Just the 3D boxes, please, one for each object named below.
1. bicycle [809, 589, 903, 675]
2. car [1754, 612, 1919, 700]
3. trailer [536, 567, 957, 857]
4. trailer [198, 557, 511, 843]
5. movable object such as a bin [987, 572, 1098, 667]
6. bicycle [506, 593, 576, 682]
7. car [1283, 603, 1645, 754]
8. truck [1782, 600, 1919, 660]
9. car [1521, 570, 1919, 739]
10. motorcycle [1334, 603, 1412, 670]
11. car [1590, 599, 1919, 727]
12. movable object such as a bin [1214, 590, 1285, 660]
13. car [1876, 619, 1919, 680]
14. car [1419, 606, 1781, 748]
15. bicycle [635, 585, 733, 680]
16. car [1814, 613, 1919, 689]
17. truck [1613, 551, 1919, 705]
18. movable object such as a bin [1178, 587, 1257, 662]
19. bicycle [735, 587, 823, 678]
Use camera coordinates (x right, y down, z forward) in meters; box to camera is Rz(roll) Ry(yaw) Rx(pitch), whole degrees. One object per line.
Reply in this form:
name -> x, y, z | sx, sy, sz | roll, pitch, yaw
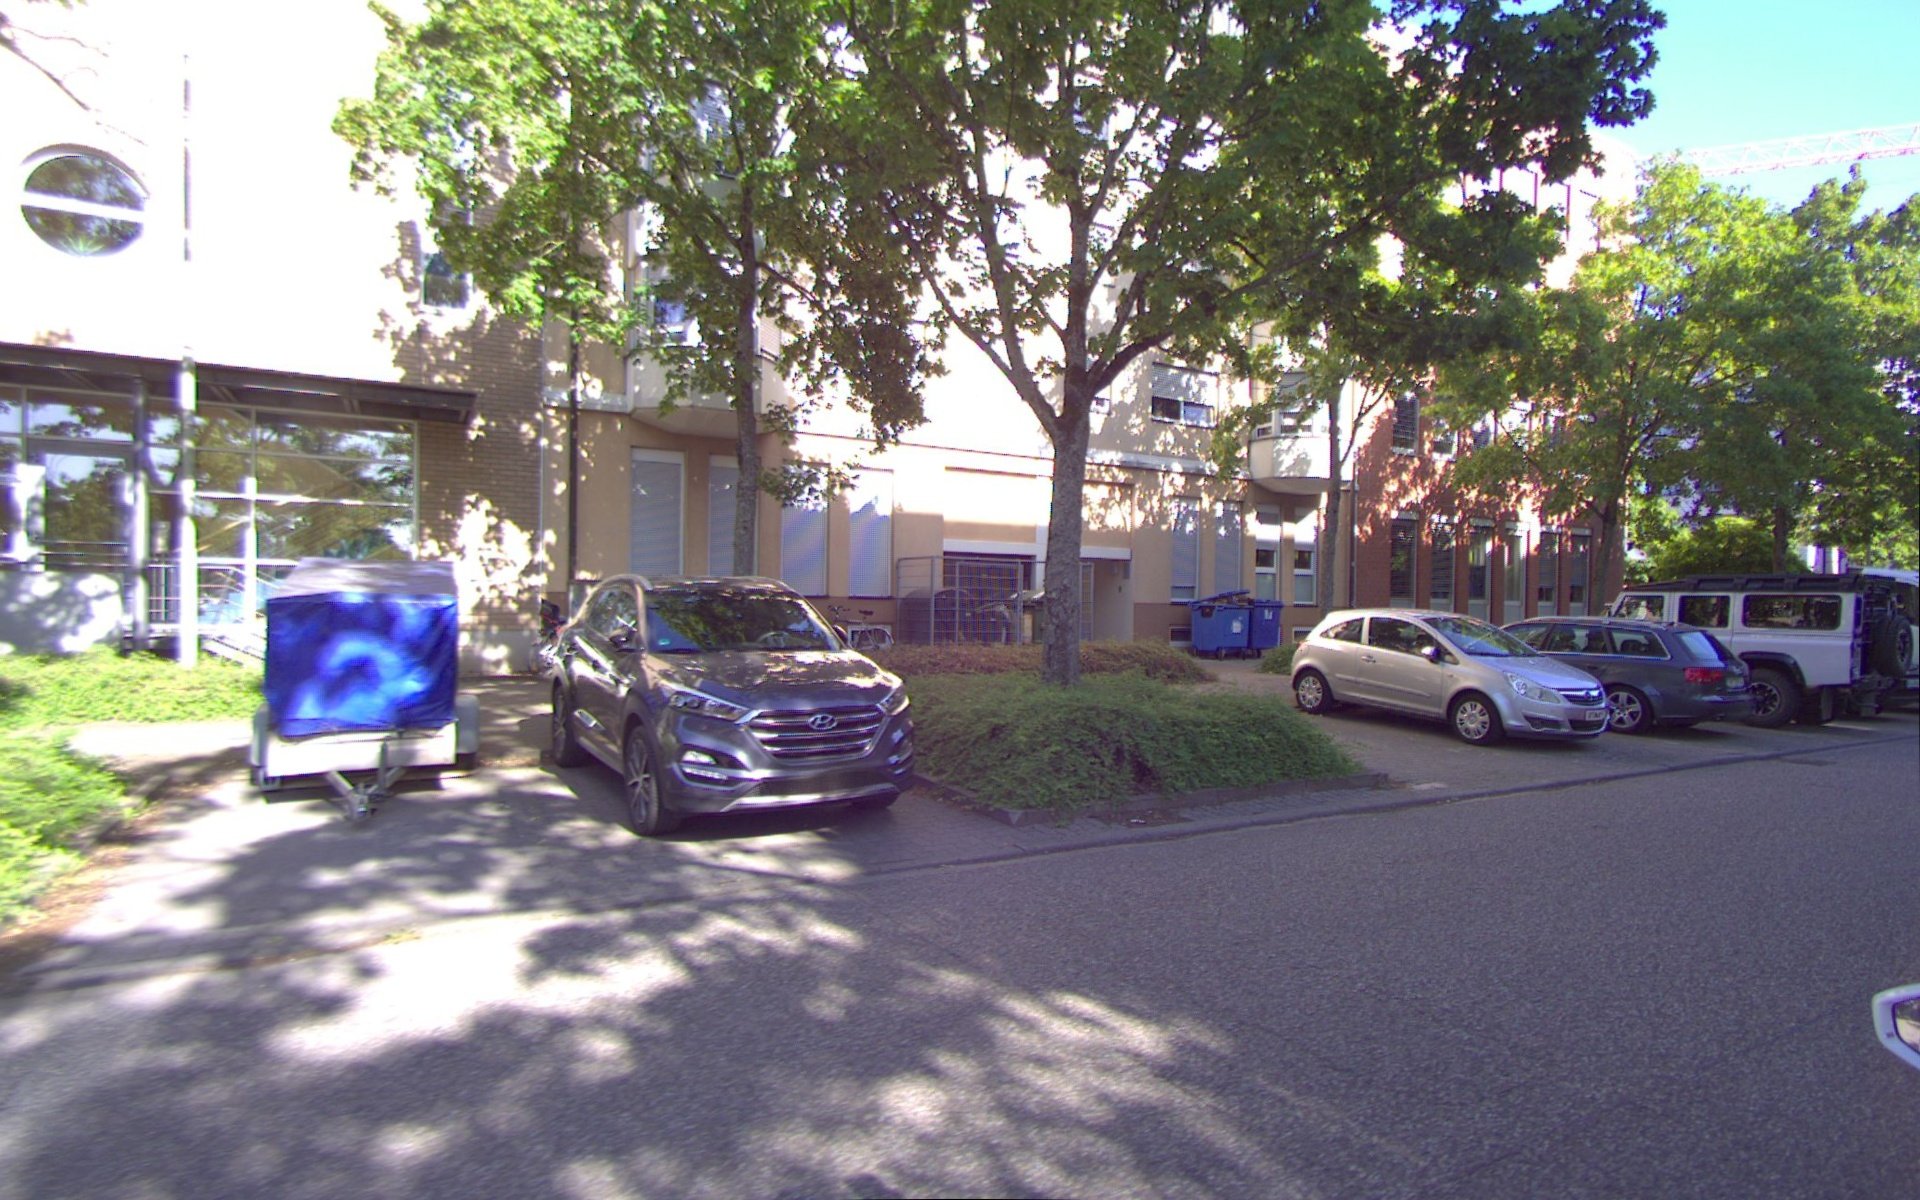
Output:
bicycle -> -1.898, 0.554, 18.169 | 1.703, 1.428, 0.612 | 3, 2, 38
car -> 18.092, 1.065, 18.999 | 1.977, 1.507, 4.404 | 1, 1, -31
trailer -> -1.944, 0.583, 7.867 | 1.836, 1.593, 4.235 | 1, 1, -33
trailer -> -4.446, 0.566, 7.591 | 1.691, 1.710, 2.713 | 1, 2, -29
movable object such as a bin -> 1.664, 0.380, 20.400 | 1.644, 1.820, 1.592 | 1, 0, -29
bicycle -> -6.445, 0.545, 15.397 | 0.448, 1.246, 1.676 | 1, 2, -42
car -> 6.131, 0.846, 12.703 | 1.710, 1.480, 3.821 | 1, 1, -26
truck -> 44.344, 1.410, 49.043 | 2.549, 2.740, 6.073 | 1, -1, -31
car -> 11.131, 0.640, 14.924 | 1.977, 2.079, 4.458 | 1, 1, -31
motorcycle -> 10.350, 0.902, 25.166 | 2.086, 1.612, 0.710 | 1, 0, -32
car -> 13.001, 0.912, 16.430 | 1.977, 1.684, 4.086 | 1, 1, -31
movable object such as a bin -> 6.844, 0.575, 23.758 | 1.235, 1.583, 1.134 | 1, 0, -42
car -> 24.417, 1.201, 23.586 | 1.701, 1.454, 3.969 | 1, -1, -29
car -> 8.585, 0.919, 13.779 | 1.814, 1.512, 3.755 | 1, 1, -33
bicycle -> -4.498, 0.497, 16.334 | 1.703, 1.428, 0.612 | 3, 2, 38
car -> 20.669, 1.099, 20.531 | 1.868, 1.461, 4.517 | 0, 2, -31
truck -> 15.507, 0.450, 17.916 | 2.160, 2.454, 6.205 | 1, 0, -29
movable object such as a bin -> 5.870, 0.541, 22.887 | 1.431, 1.641, 1.134 | 1, 0, -42
bicycle -> -3.103, 0.528, 17.107 | 0.610, 1.428, 1.708 | 1, 2, -43
